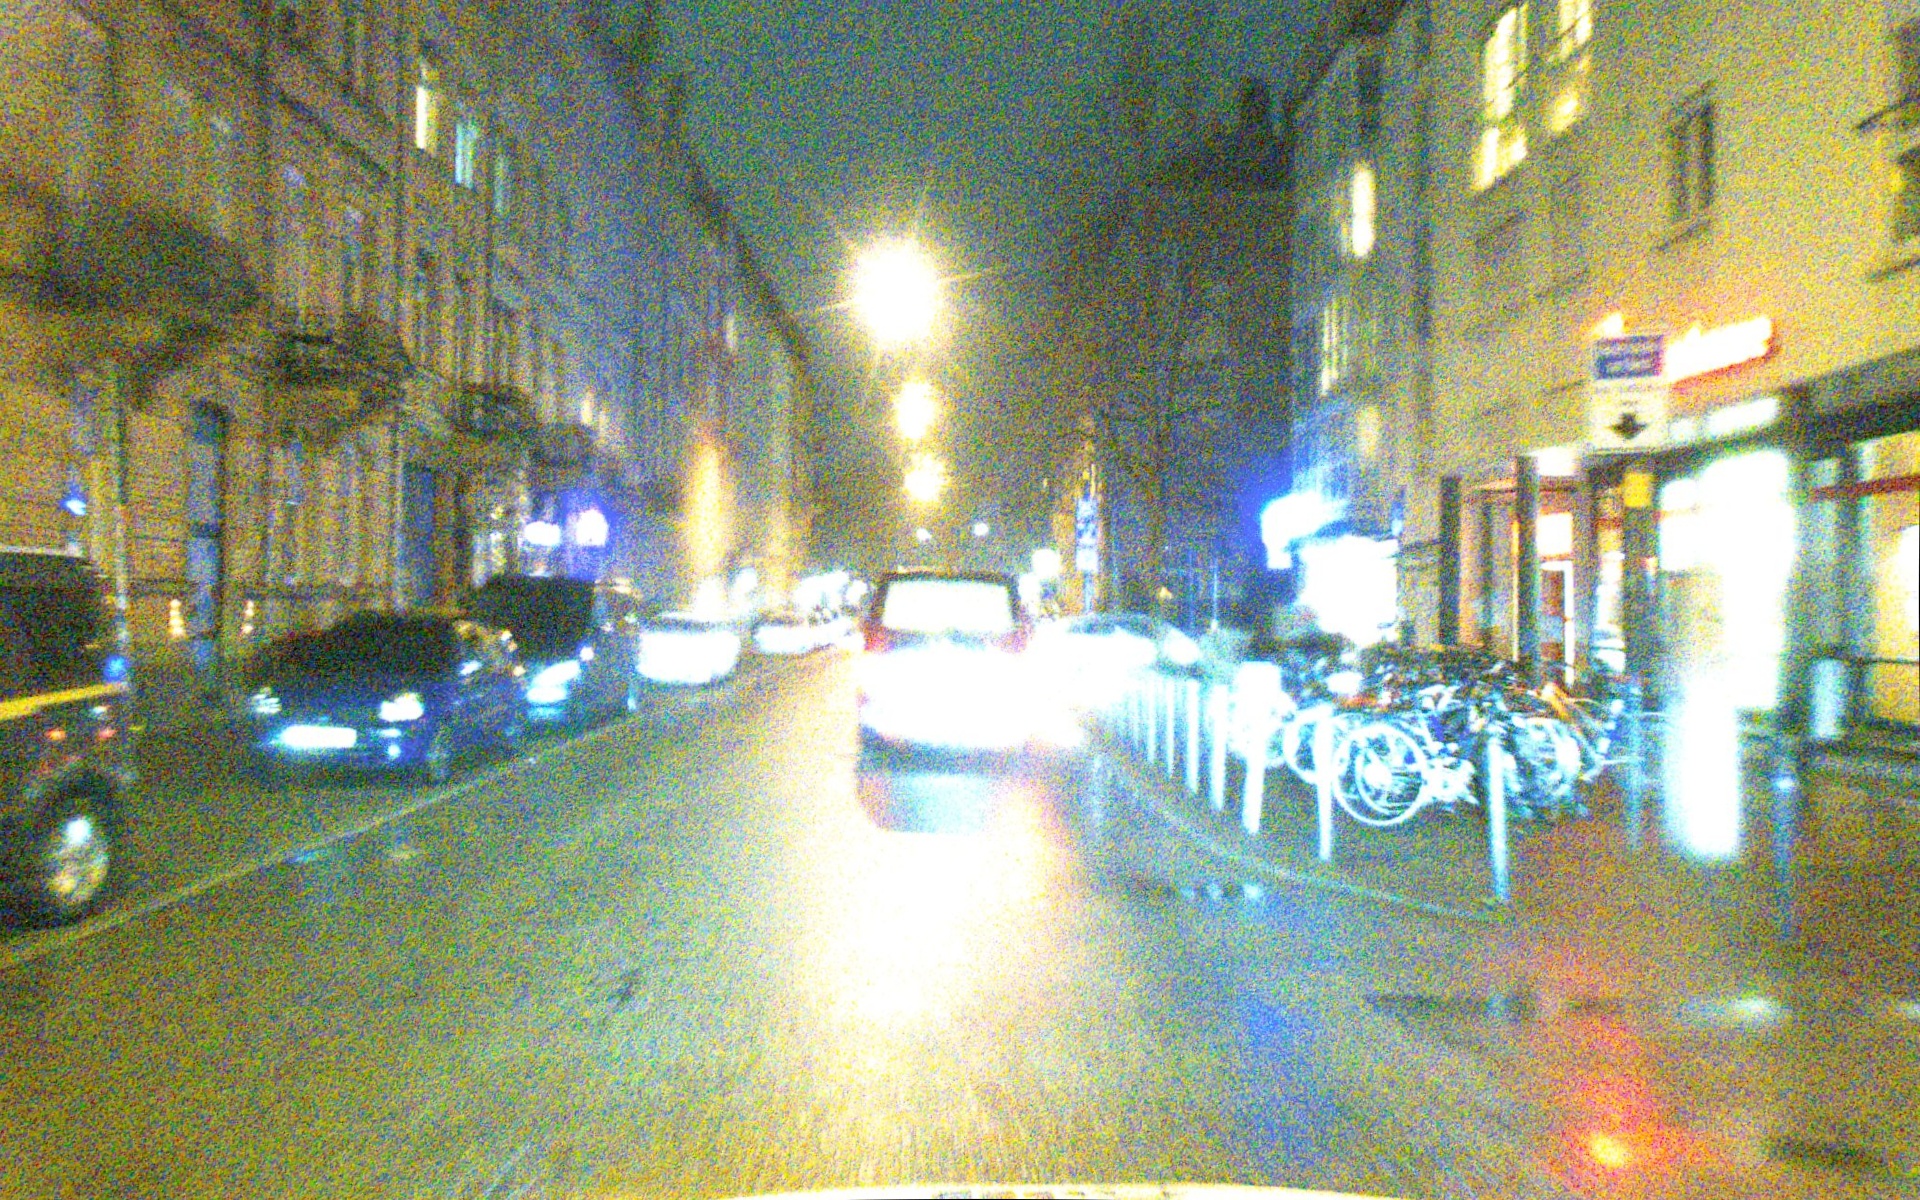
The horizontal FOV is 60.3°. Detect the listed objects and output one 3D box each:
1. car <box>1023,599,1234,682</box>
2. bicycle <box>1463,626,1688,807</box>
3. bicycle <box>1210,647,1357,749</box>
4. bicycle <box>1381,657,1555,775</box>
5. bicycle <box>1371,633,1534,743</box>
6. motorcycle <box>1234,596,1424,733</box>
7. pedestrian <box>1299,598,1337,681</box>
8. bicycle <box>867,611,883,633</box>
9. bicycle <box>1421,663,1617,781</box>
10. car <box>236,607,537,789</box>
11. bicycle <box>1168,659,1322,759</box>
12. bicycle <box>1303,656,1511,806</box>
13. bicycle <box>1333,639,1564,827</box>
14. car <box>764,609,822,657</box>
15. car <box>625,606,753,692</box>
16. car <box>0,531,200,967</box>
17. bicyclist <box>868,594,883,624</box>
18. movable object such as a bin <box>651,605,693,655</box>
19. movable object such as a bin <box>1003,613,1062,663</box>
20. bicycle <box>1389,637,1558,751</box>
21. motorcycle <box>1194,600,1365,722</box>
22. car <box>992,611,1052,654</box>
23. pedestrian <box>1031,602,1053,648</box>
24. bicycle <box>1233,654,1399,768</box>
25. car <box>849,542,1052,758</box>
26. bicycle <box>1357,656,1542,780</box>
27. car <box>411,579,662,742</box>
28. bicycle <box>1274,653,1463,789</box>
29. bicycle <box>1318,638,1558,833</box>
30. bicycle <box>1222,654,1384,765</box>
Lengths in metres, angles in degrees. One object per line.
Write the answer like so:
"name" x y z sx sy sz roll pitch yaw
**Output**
"car" 3.698 0.880 36.803 4.421 1.557 1.780 -3 0 -2
"bicycle" 4.721 0.888 12.711 1.498 1.223 0.366 -5 -1 -3
"bicycle" 3.565 1.078 18.278 1.496 0.968 0.366 -6 -1 6
"bicycle" 4.890 1.106 15.932 1.499 0.968 0.366 -5 -1 -5
"bicycle" 5.073 0.902 17.057 1.499 0.968 0.366 -5 -1 -5
"motorcycle" 4.679 0.808 21.090 2.129 1.574 0.866 -4 -1 -2
"pedestrian" 7.970 0.877 36.855 0.688 1.819 0.624 -1 0 2
"bicycle" -4.399 1.139 85.399 0.712 1.091 2.348 -1 0 -1
"bicycle" 4.791 1.042 14.213 1.497 0.848 0.325 -6 -1 3
"car" -5.211 0.816 15.518 1.537 1.485 3.719 1 0 0
"bicycle" 3.227 1.233 18.812 1.635 0.968 0.366 -6 -1 6
"bicycle" 3.595 1.044 13.335 1.498 1.041 0.366 -5 -1 -3
"bicycle" 3.594 0.968 12.205 1.498 1.223 0.366 -5 -1 -3
"car" -5.688 1.104 56.599 1.638 1.517 3.721 2 0 -1
"car" -5.438 0.936 33.720 1.731 1.509 4.771 4 0 0
"car" -5.029 0.628 6.496 1.864 1.861 4.828 0 0 0
"bicyclist" -4.362 0.464 85.401 0.704 1.583 0.895 -1 -1 -1
"movable object such as a bin" -8.712 0.912 50.097 1.079 1.479 1.378 0 -1 -3
"movable object such as a bin" 2.164 1.110 49.203 1.327 1.454 1.185 1 -1 -37
"bicycle" 5.089 0.928 16.409 1.500 0.968 0.366 -5 -1 -6
"motorcycle" 4.678 0.880 24.301 2.242 1.616 0.866 -4 -1 -2
"car" 2.199 1.136 59.740 1.953 1.490 4.415 0 0 -1
"pedestrian" 3.298 1.007 66.874 0.844 1.819 1.083 -2 1 2
"bicycle" 3.541 1.100 16.492 1.499 0.968 0.366 -5 -1 -5
"car" -0.104 0.495 18.467 1.955 2.085 4.693 0 0 0
"bicycle" 4.455 1.074 15.106 1.497 0.968 0.366 -6 -1 3
"car" -5.340 0.707 21.635 1.955 1.861 5.206 1 0 0
"bicycle" 3.606 1.064 14.642 1.497 1.041 0.366 -6 -1 3
"bicycle" 3.380 0.952 11.750 1.497 1.223 0.366 -5 -1 1
"bicycle" 3.504 1.113 16.921 1.499 0.968 0.366 -5 -1 -5
